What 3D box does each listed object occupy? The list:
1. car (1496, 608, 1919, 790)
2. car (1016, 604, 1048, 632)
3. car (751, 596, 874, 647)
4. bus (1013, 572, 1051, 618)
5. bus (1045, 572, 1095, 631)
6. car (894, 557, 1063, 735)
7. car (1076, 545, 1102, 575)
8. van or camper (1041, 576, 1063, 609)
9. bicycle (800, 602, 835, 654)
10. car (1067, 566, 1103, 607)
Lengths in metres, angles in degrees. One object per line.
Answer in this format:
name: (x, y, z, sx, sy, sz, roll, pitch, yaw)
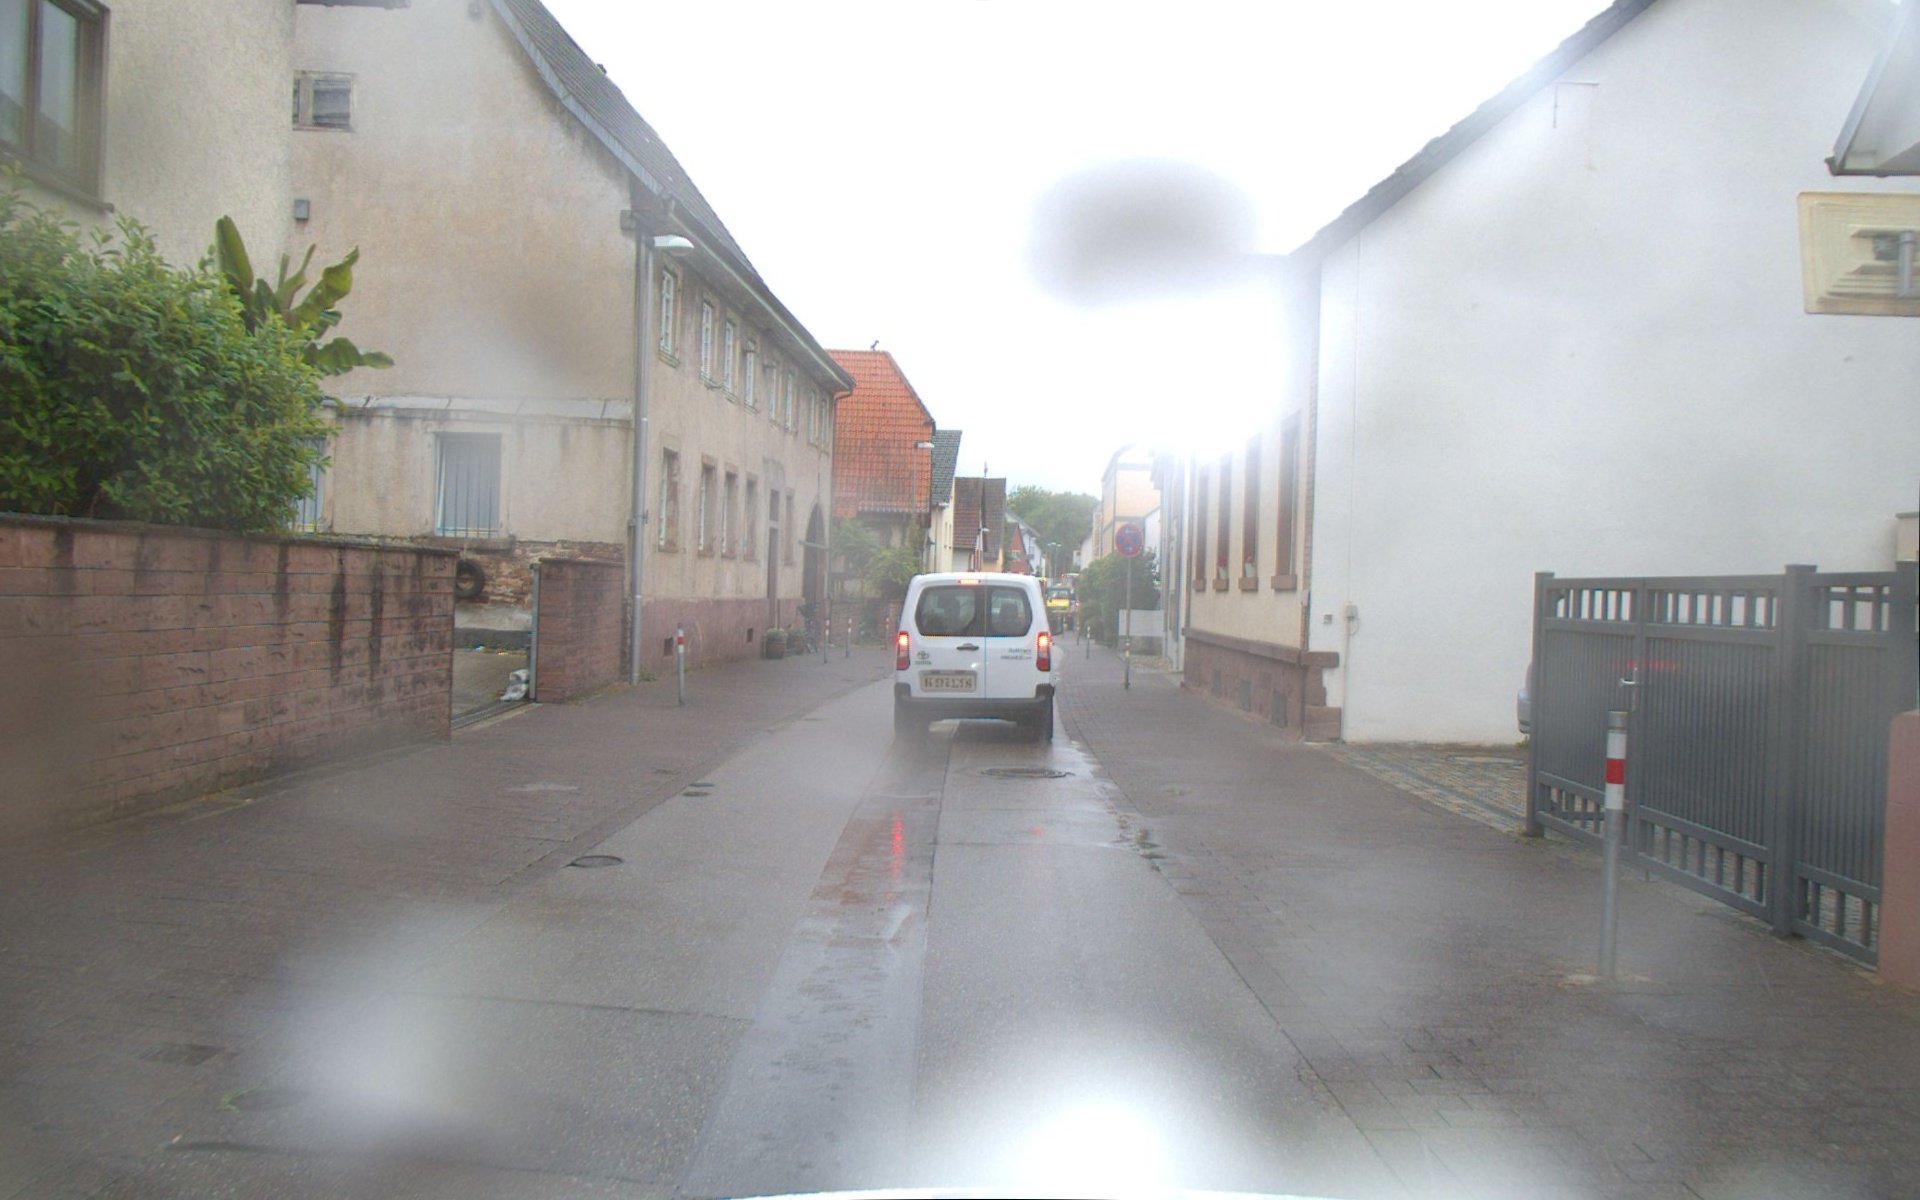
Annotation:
car: (7.461, 0.931, 16.098, 3.819, 1.524, 1.850, 3, -1, -4)
car: (3.933, 0.974, 90.130, 1.529, 1.395, 3.586, 3, -1, 4)
car: (-4.455, 0.653, 50.219, 3.453, 1.400, 1.595, 2, 0, 6)
bus: (5.911, -0.339, 134.961, 2.735, 3.387, 8.181, 4, -1, 4)
bus: (6.677, 0.145, 101.030, 2.735, 3.235, 8.181, 4, -1, 4)
car: (0.308, 0.509, 19.349, 1.757, 1.850, 4.103, 0, -1, 3)
car: (10.064, -3.081, 128.877, 1.952, 2.049, 4.002, 3, -1, 5)
van or camper: (8.936, -0.705, 159.634, 1.797, 2.976, 5.366, 3, -1, 5)
bicycle: (-3.415, 0.673, 39.759, 0.473, 1.200, 1.836, 3, -1, 5)
car: (6.767, -0.728, 89.909, 1.789, 2.049, 3.695, 3, -1, 3)
